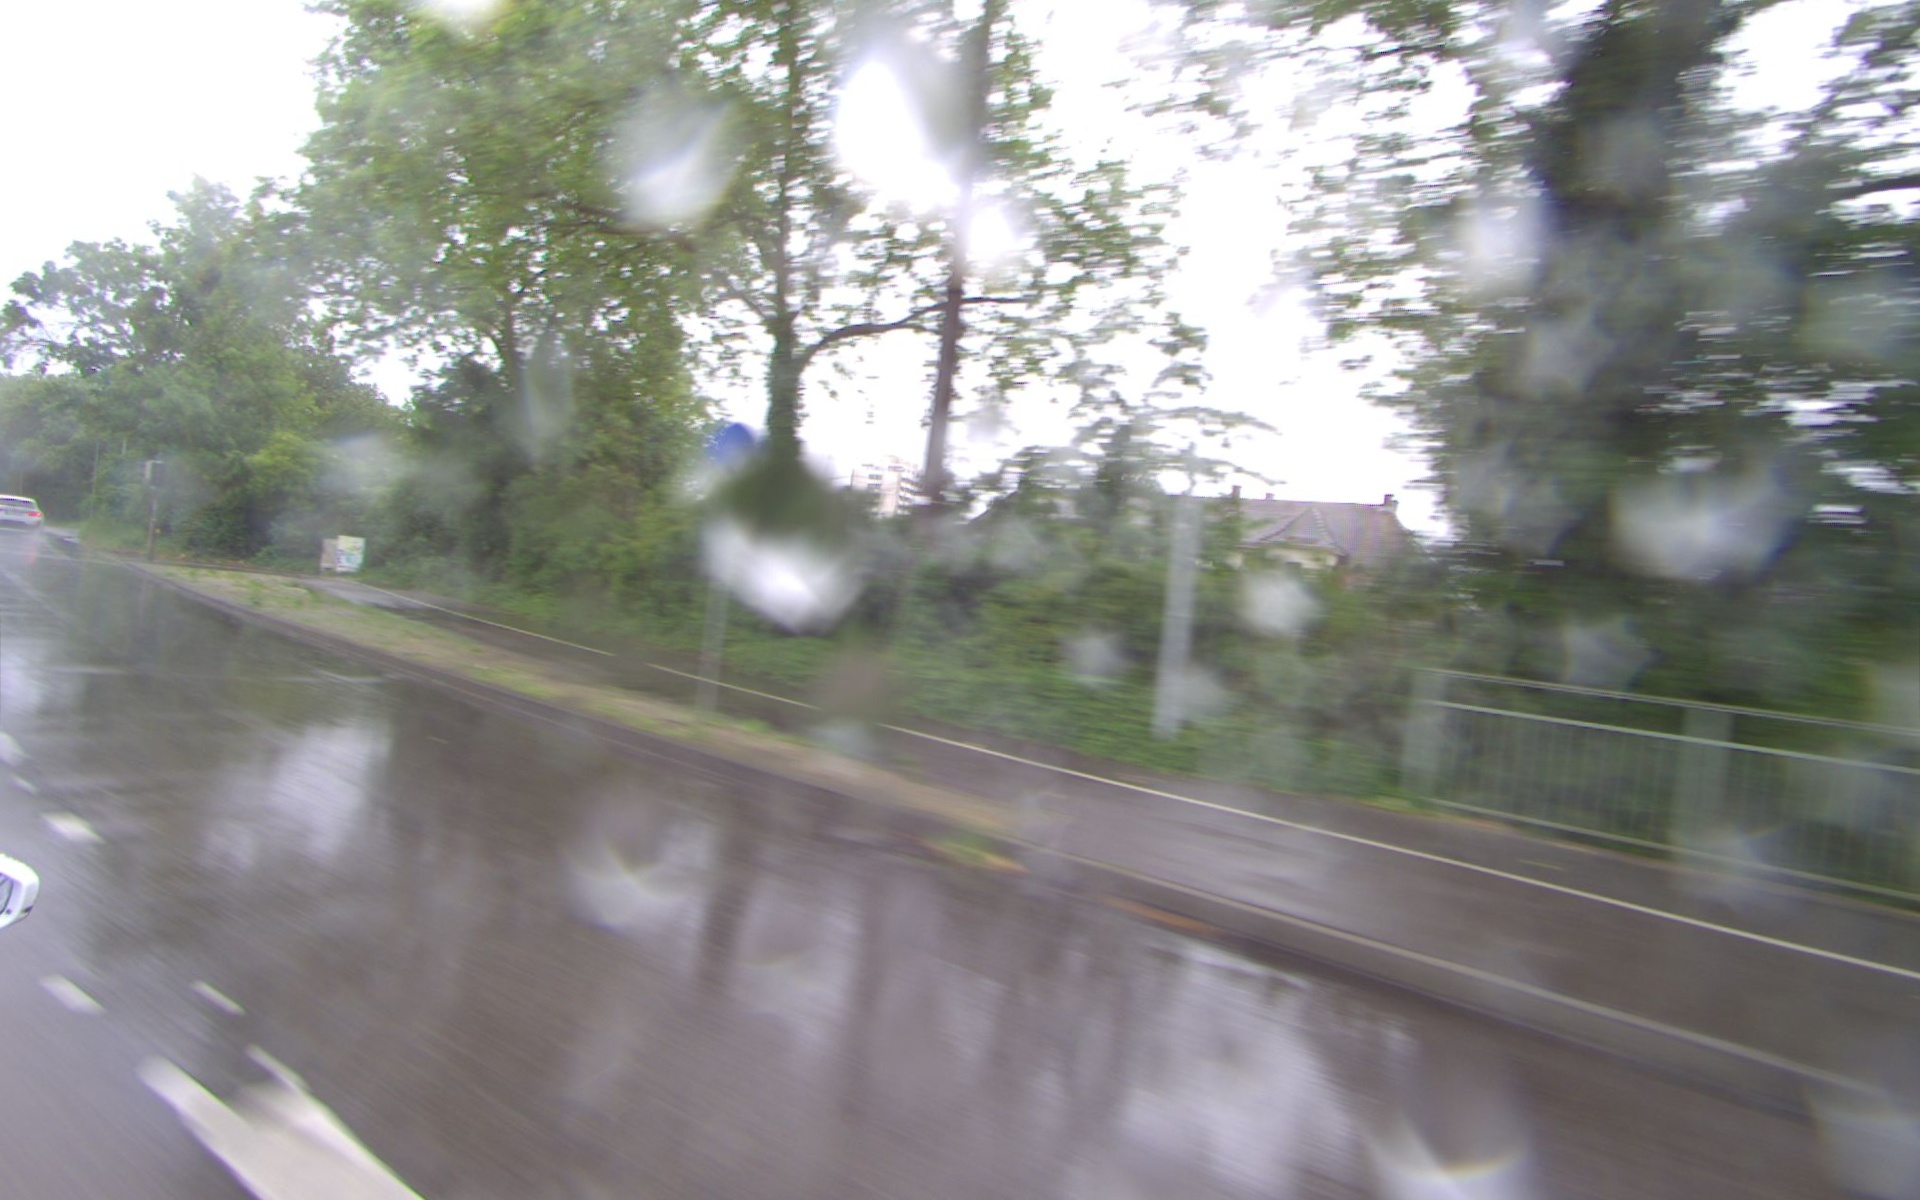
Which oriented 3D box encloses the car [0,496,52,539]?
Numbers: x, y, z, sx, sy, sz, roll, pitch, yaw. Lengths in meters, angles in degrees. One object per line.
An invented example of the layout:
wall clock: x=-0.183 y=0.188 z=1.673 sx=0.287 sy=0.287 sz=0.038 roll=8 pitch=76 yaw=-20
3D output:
car: x=-38.254 y=-3.405 z=40.690 sx=3.947 sy=1.448 sz=1.884 roll=7 pitch=-1 yaw=44
